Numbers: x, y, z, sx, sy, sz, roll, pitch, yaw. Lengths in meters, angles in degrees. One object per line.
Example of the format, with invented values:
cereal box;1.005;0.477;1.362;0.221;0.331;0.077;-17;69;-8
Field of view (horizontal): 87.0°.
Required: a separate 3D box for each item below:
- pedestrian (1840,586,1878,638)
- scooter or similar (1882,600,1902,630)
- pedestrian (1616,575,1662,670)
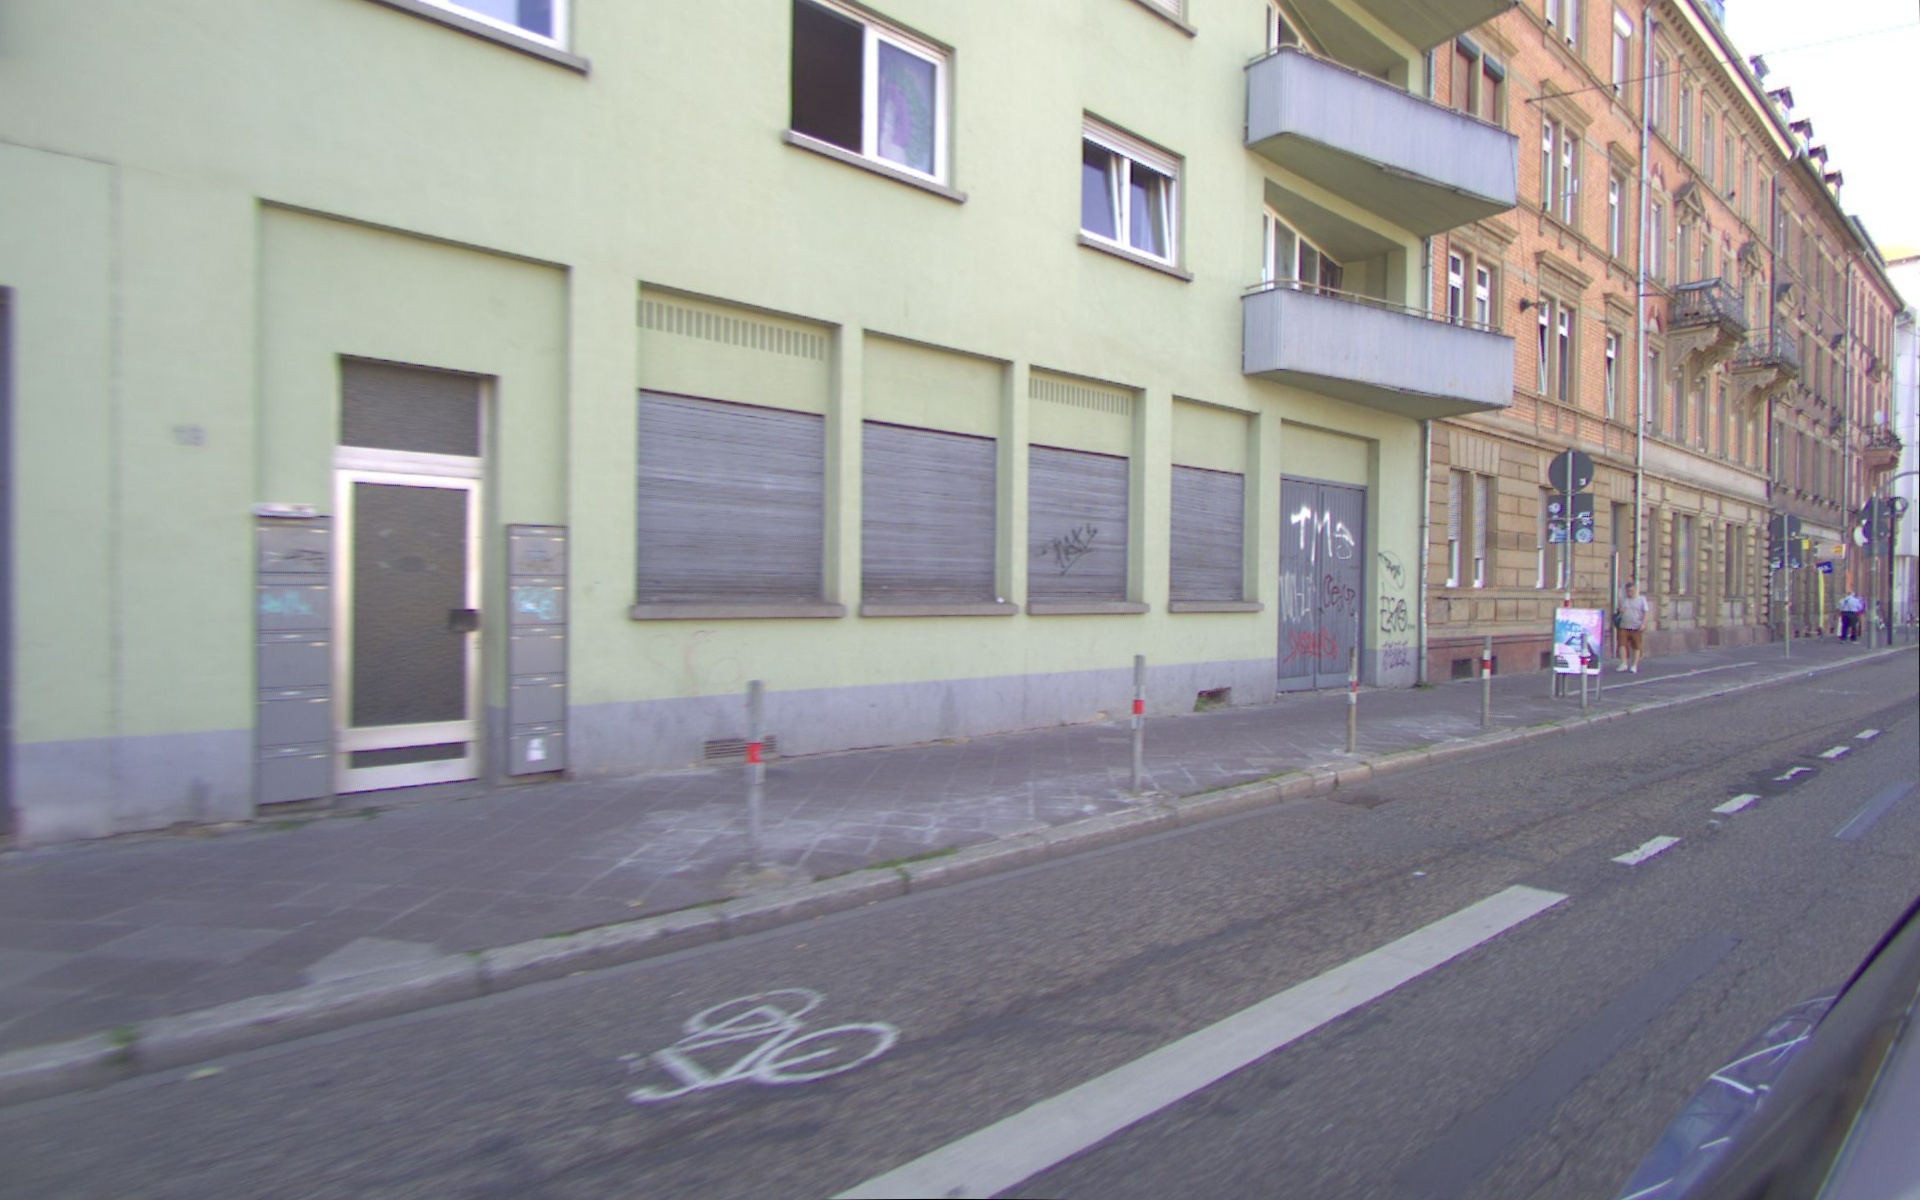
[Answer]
pedestrian;28.402;0.359;31.963;0.640;1.625;0.800;-1;1;-38
scooter or similar;39.086;0.616;42.422;1.454;1.226;0.407;-1;2;-40
pedestrian;12.668;0.402;18.896;0.465;1.721;0.554;0;3;-40
